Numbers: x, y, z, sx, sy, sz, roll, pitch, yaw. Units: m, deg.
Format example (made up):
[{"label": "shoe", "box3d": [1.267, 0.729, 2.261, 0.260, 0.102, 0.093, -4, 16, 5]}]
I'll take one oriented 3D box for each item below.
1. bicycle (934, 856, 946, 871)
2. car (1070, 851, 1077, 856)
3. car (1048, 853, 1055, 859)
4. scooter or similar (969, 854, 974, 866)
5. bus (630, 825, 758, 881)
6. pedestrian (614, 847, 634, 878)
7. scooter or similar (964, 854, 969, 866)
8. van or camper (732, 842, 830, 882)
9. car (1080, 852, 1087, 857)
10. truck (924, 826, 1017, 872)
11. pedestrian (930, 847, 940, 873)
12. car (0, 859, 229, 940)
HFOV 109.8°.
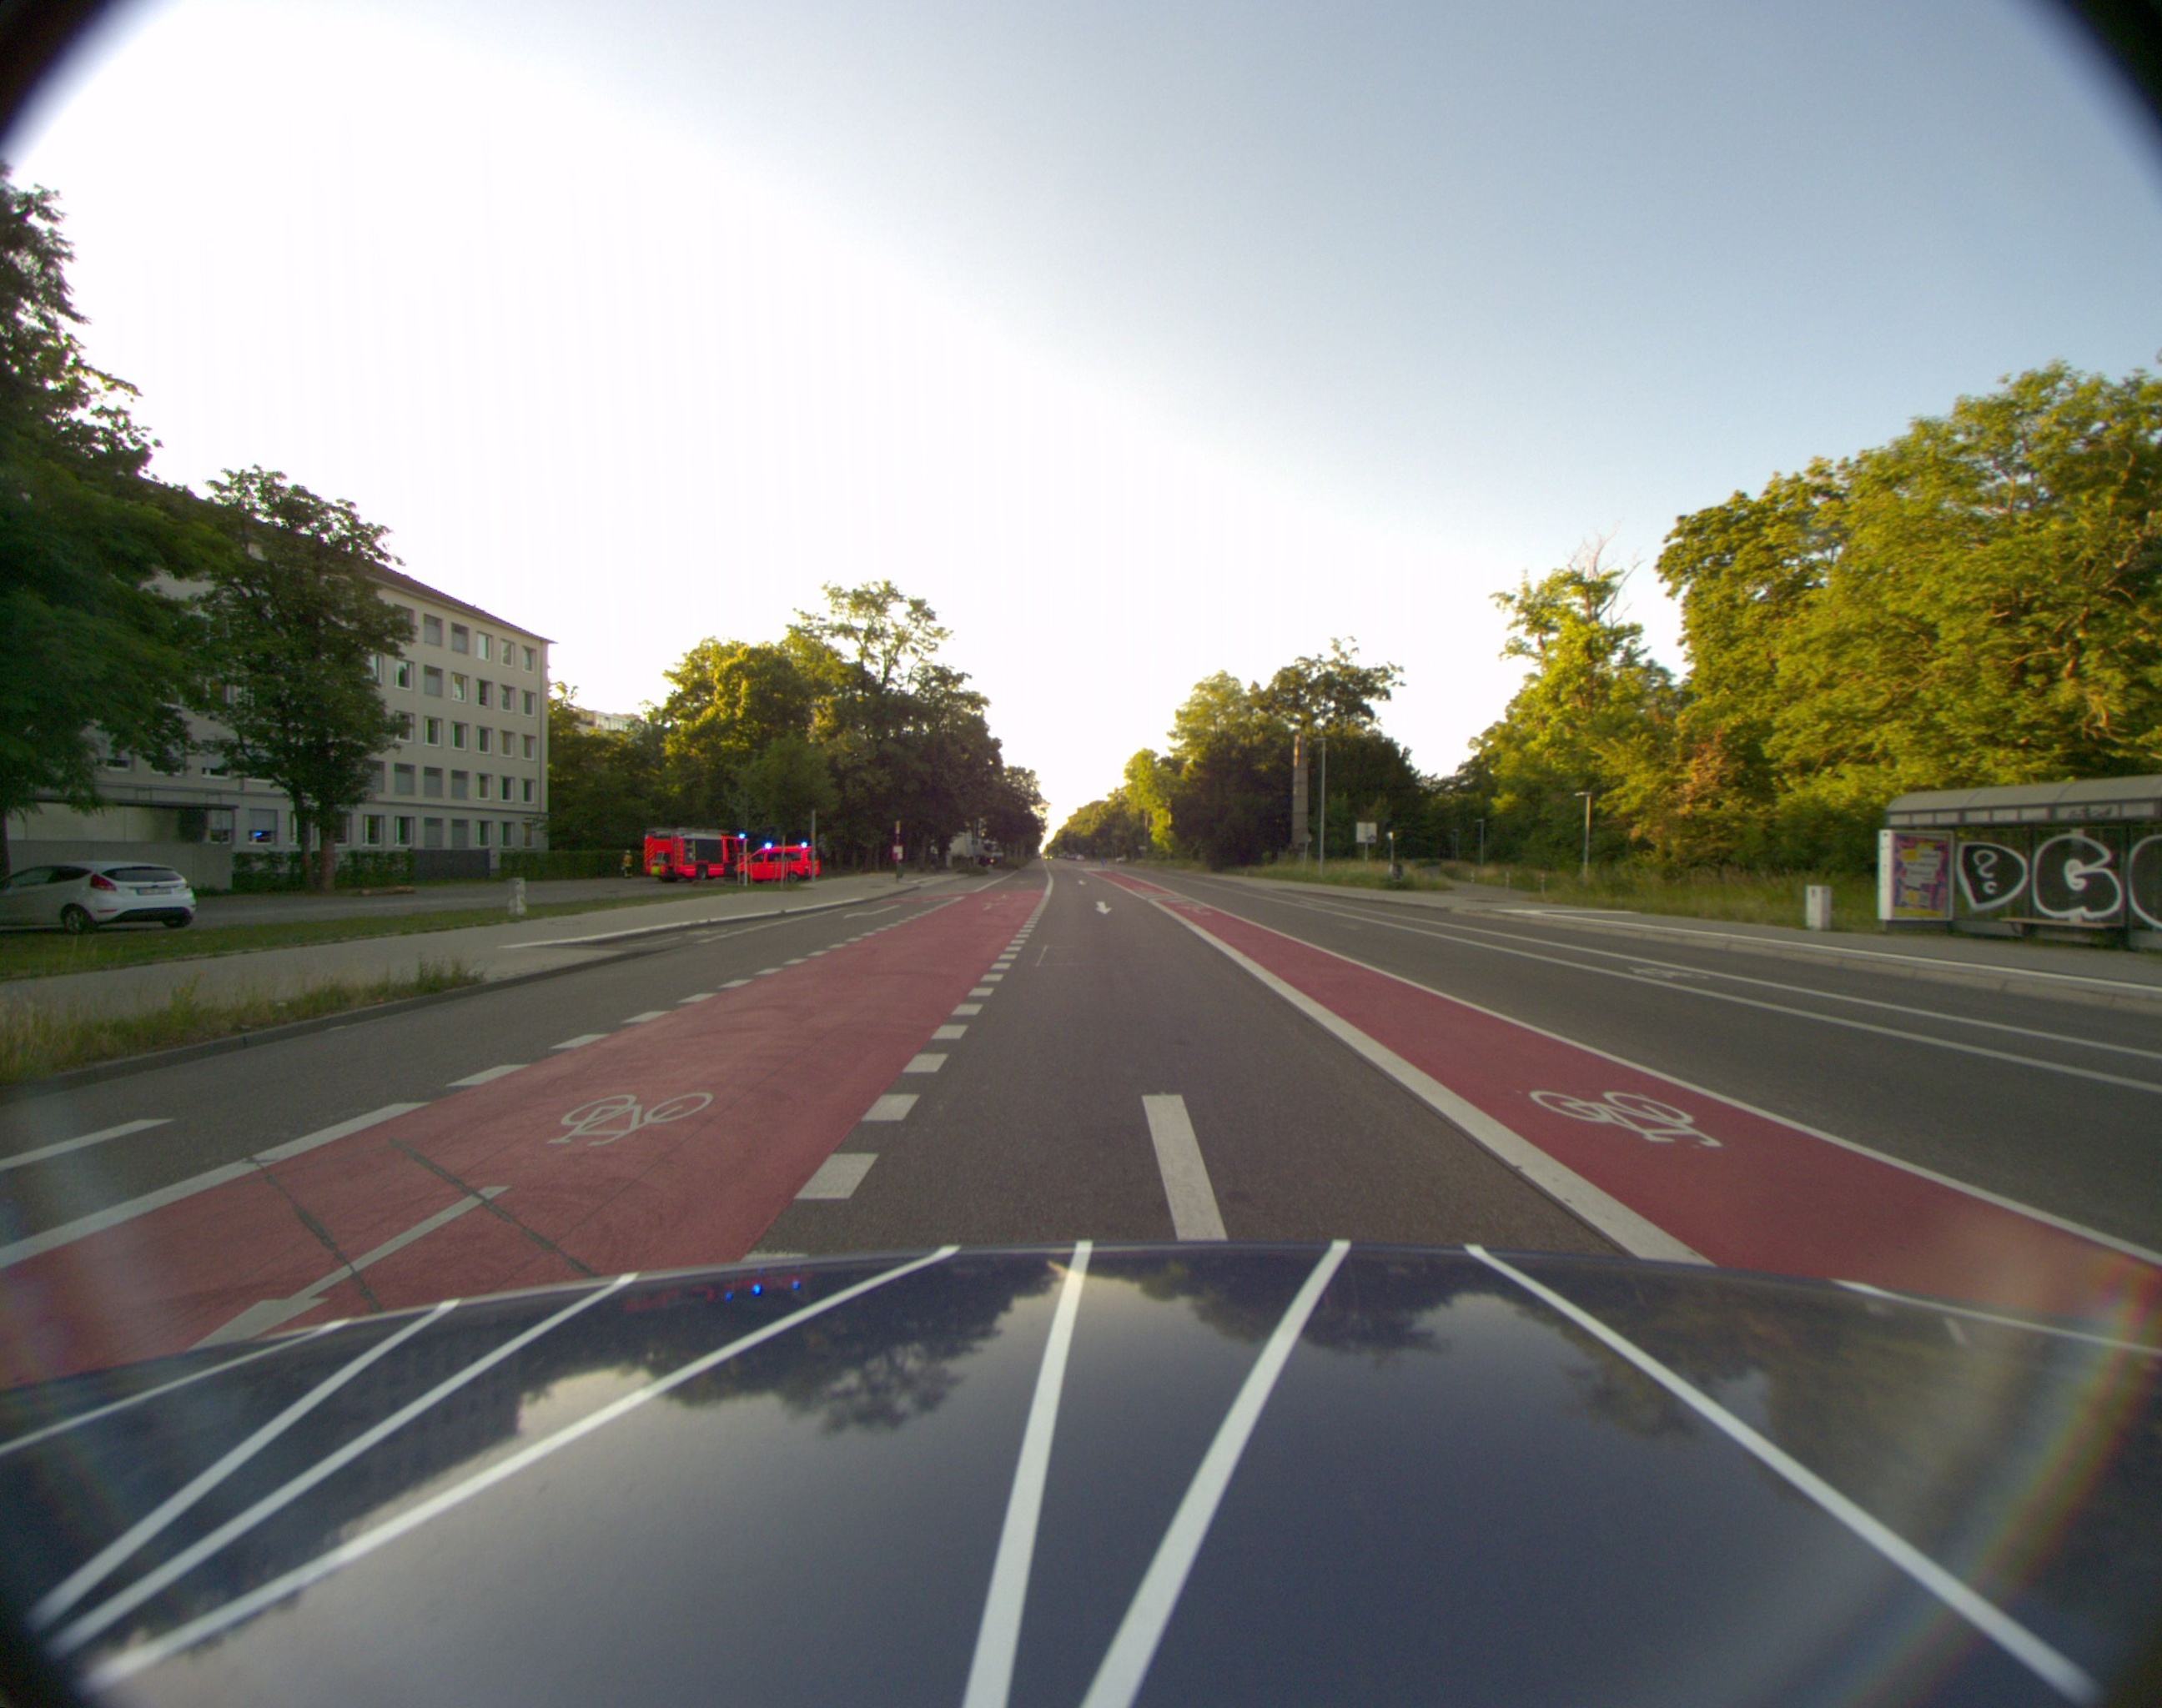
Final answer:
[{"label": "bicycle", "box3d": [-10.936, 0.726, 58.919, 0.833, 1.091, 1.967, 2, 0, -10]}, {"label": "car", "box3d": [-2.081, -0.155, 212.978, 1.754, 1.299, 3.999, 1, 0, -2]}, {"label": "car", "box3d": [-9.359, 0.601, 239.576, 1.999, 1.608, 3.999, 0, 0, -1]}, {"label": "scooter or similar", "box3d": [-11.949, 0.661, 83.162, 0.483, 1.274, 1.139, 2, 0, -8]}, {"label": "bus", "box3d": [-23.717, -0.074, 47.168, 2.993, 3.177, 7.968, -1, 0, 8]}, {"label": "pedestrian", "box3d": [-29.776, 0.527, 49.527, 0.772, 2.002, 0.826, 0, 1, 9]}, {"label": "scooter or similar", "box3d": [-12.227, 0.614, 81.448, 0.483, 1.274, 1.230, 2, 0, -8]}, {"label": "van or camper", "box3d": [-17.625, 0.472, 44.826, 4.822, 2.232, 2.296, -1, 1, 7]}, {"label": "car", "box3d": [0.652, 0.156, 191.186, 1.851, 1.406, 4.180, 0, 0, 0]}, {"label": "truck", "box3d": [-14.486, -0.625, 97.515, 5.169, 5.542, 15.042, 0, 1, -37]}, {"label": "pedestrian", "box3d": [-11.264, 0.485, 58.706, 0.725, 2.002, 0.695, 0, 1, -4]}, {"label": "car", "box3d": [-20.967, 0.922, 16.013, 3.996, 1.528, 1.912, -1, 1, 4]}]
